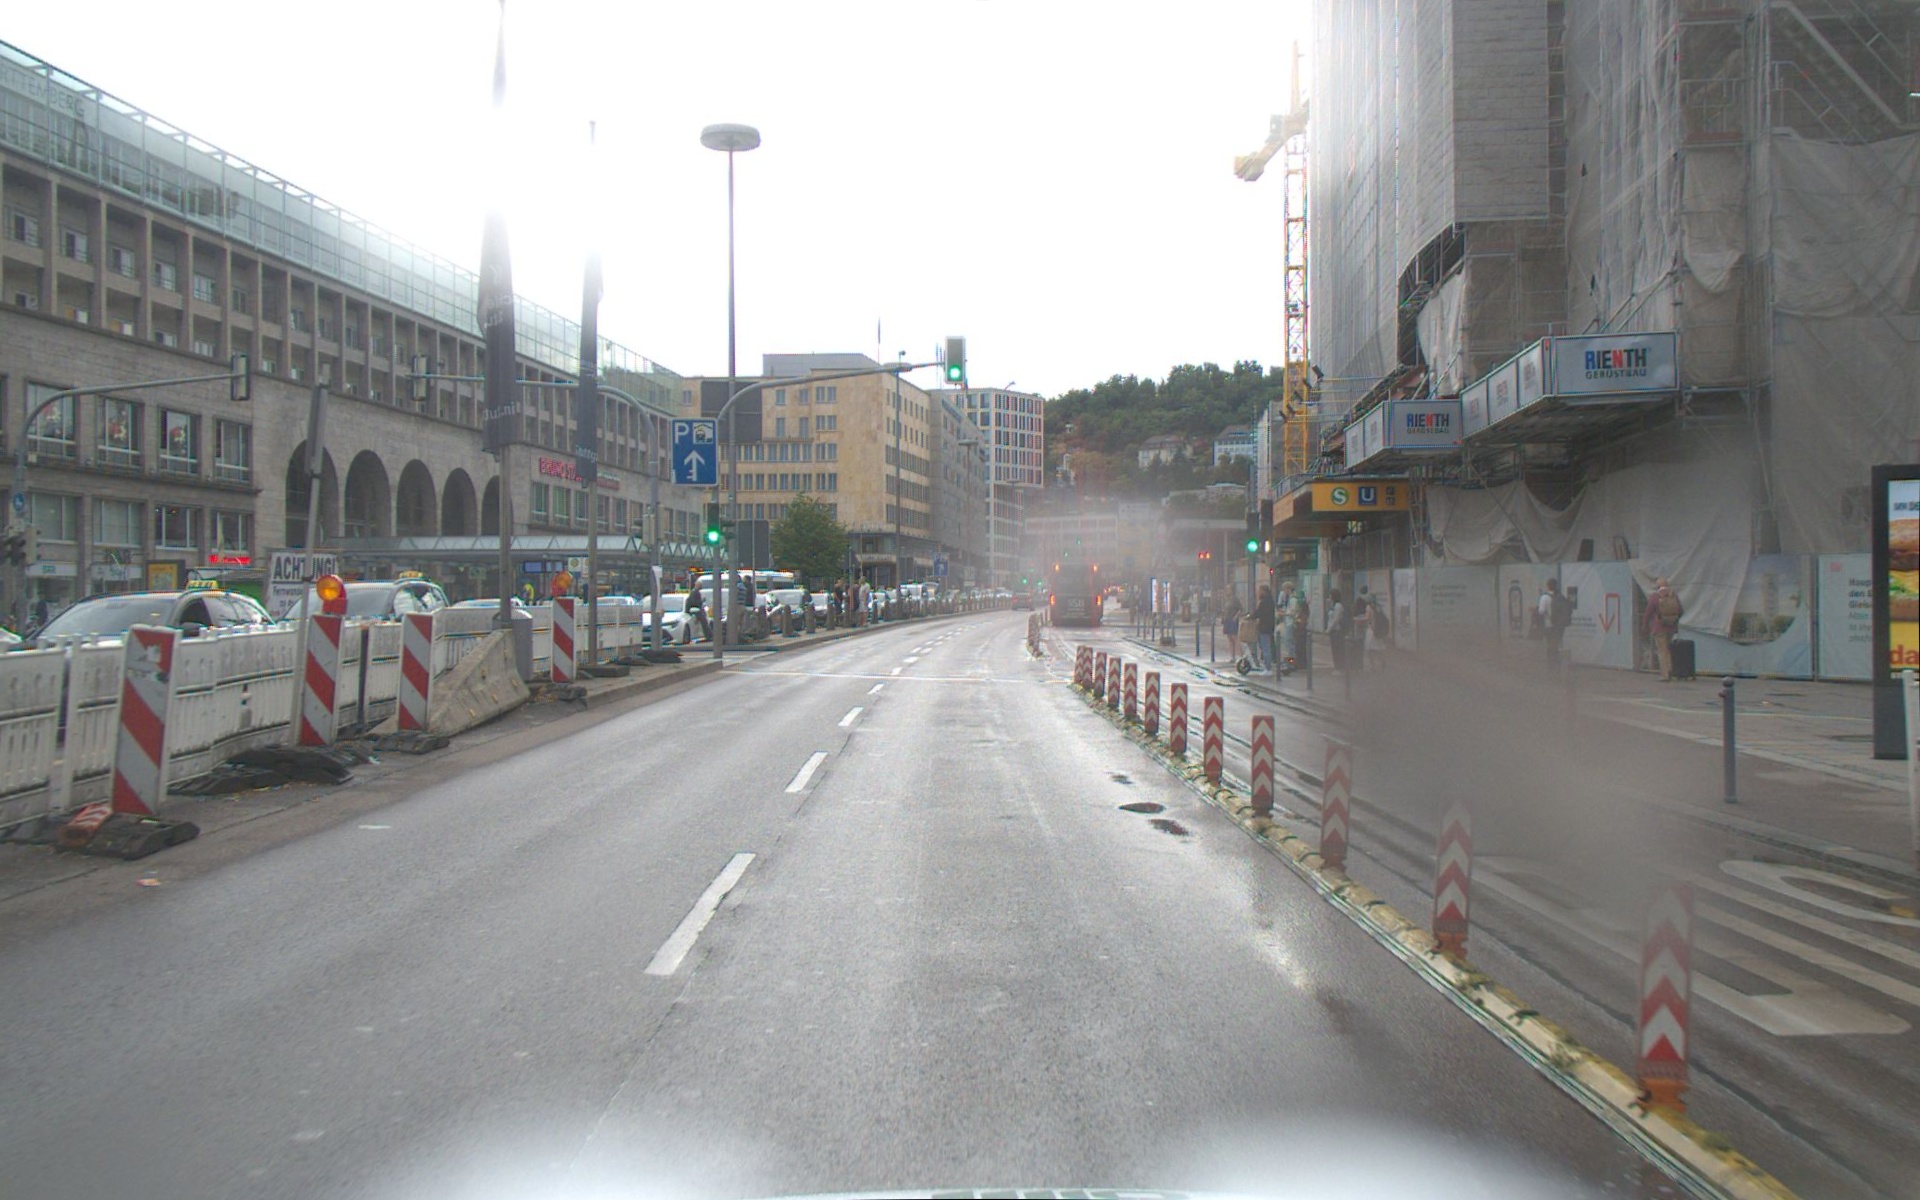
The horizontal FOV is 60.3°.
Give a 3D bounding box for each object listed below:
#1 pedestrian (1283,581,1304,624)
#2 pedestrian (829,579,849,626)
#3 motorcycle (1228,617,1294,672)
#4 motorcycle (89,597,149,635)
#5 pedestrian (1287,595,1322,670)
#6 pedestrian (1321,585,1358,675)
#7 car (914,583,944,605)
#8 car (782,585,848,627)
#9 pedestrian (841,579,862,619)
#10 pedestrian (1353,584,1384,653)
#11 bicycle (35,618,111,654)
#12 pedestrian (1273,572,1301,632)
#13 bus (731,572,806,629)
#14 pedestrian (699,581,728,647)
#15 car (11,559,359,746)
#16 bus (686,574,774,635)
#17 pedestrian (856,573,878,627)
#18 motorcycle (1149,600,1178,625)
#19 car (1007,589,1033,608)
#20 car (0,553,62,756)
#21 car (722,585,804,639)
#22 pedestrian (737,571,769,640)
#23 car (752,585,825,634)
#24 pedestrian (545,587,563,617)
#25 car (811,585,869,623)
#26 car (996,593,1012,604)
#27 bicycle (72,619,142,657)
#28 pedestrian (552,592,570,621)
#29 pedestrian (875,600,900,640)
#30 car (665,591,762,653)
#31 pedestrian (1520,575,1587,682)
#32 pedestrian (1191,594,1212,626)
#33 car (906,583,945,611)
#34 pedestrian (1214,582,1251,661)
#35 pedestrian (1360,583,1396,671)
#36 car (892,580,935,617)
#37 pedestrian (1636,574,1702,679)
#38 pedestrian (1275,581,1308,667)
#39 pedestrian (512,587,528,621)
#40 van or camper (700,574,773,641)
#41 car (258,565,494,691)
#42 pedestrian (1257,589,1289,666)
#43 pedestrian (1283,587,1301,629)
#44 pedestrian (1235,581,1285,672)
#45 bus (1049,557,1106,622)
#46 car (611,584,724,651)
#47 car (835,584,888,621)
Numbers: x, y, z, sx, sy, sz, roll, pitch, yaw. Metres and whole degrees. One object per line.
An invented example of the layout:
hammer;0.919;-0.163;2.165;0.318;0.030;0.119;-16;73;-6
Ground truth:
pedestrian;12.449;0.077;61.735;0.637;1.566;0.666;-3;0;5
pedestrian;-4.672;0.083;63.864;0.684;1.785;0.712;0;0;4
motorcycle;5.965;0.873;32.830;0.580;1.039;1.223;-1;1;-38
motorcycle;-24.497;0.457;48.186;1.411;1.076;0.602;1;1;-6
pedestrian;7.028;0.661;33.779;0.546;1.474;0.712;-3;0;6
pedestrian;7.307;0.569;31.848;0.546;1.679;0.615;-3;0;6
car;-2.268;-0.433;122.078;1.952;1.579;4.001;-1;0;2
car;-5.951;0.230;68.480;1.889;1.604;5.264;-2;0;4
pedestrian;-4.431;-0.044;67.509;0.707;1.634;0.996;1;1;4
pedestrian;10.240;0.451;41.471;0.538;1.660;0.996;-3;0;4
bicycle;-28.091;1.130;52.390;2.046;1.096;0.596;1;1;-3
pedestrian;10.531;0.067;53.332;0.707;1.879;0.811;-3;0;4
bus;-12.522;-0.030;109.088;2.816;3.520;10.581;0;1;5
pedestrian;-6.597;0.363;44.249;0.637;1.741;0.593;1;1;3
car;-8.985;0.511;19.671;1.863;1.931;4.525;1;1;2
bus;-13.542;0.198;98.384;2.816;3.435;10.581;0;1;5
pedestrian;-3.592;0.003;63.816;0.707;2.042;0.773;1;1;4
motorcycle;9.761;0.587;79.306;0.576;1.186;1.606;1;0;43
car;5.088;-0.126;139.666;1.951;1.579;4.003;-1;0;6
car;-9.203;0.516;12.931;1.747;1.752;4.485;-1;1;2
car;-6.704;0.392;56.775;1.889;1.720;4.684;-2;0;4
pedestrian;-5.633;0.149;45.051;0.767;1.806;0.605;-3;0;-7
car;-6.379;0.335;61.986;1.889;1.720;4.684;-2;0;4
pedestrian;-19.198;0.092;78.142;0.696;1.417;0.698;1;1;-25
car;-5.395;0.167;74.979;1.889;1.604;5.015;-2;0;4
car;6.226;-0.263;234.928;1.920;1.592;4.838;0;0;5
bicycle;-30.698;1.361;59.557;2.163;1.348;0.560;0;0;-5
pedestrian;-19.523;0.321;80.921;0.696;1.417;0.698;1;1;-25
pedestrian;-3.267;0.884;74.750;1.028;1.799;0.617;0;0;4
car;-7.385;0.619;50.073;1.889;1.720;4.684;-2;0;4
pedestrian;9.845;0.461;27.462;0.720;1.707;0.958;-3;0;4
pedestrian;12.710;0.512;87.036;0.890;1.664;0.826;0;0;32
car;-2.249;-0.202;109.148;1.951;1.752;4.785;-1;1;6
pedestrian;6.332;0.500;38.448;0.548;1.789;0.750;-3;0;-9
pedestrian;8.209;0.529;32.523;0.552;1.679;0.615;-3;0;9
car;-2.902;-0.143;103.816;1.951;2.216;5.548;-1;1;6
pedestrian;11.811;0.426;27.563;0.717;1.711;1.110;0;0;7
pedestrian;7.037;0.495;35.137;0.546;1.782;0.712;-3;0;6
pedestrian;-19.967;0.189;75.095;0.576;1.533;0.621;1;1;-25
van or camper;-9.225;0.254;68.708;1.952;2.558;5.373;-3;0;3
car;-8.791;0.346;25.329;1.863;1.729;4.501;1;1;2
pedestrian;6.937;0.602;36.645;0.546;1.669;0.752;-3;0;6
pedestrian;15.195;0.351;75.620;0.631;1.879;0.659;-3;0;4
pedestrian;5.954;0.509;32.839;0.575;1.771;0.811;0;0;-38
bus;6.108;-0.520;85.163;2.697;3.122;9.086;1;0;5
car;-7.726;0.427;44.178;1.973;1.649;4.844;0;1;2
car;-4.781;0.114;81.105;1.935;1.688;5.195;-2;0;4
